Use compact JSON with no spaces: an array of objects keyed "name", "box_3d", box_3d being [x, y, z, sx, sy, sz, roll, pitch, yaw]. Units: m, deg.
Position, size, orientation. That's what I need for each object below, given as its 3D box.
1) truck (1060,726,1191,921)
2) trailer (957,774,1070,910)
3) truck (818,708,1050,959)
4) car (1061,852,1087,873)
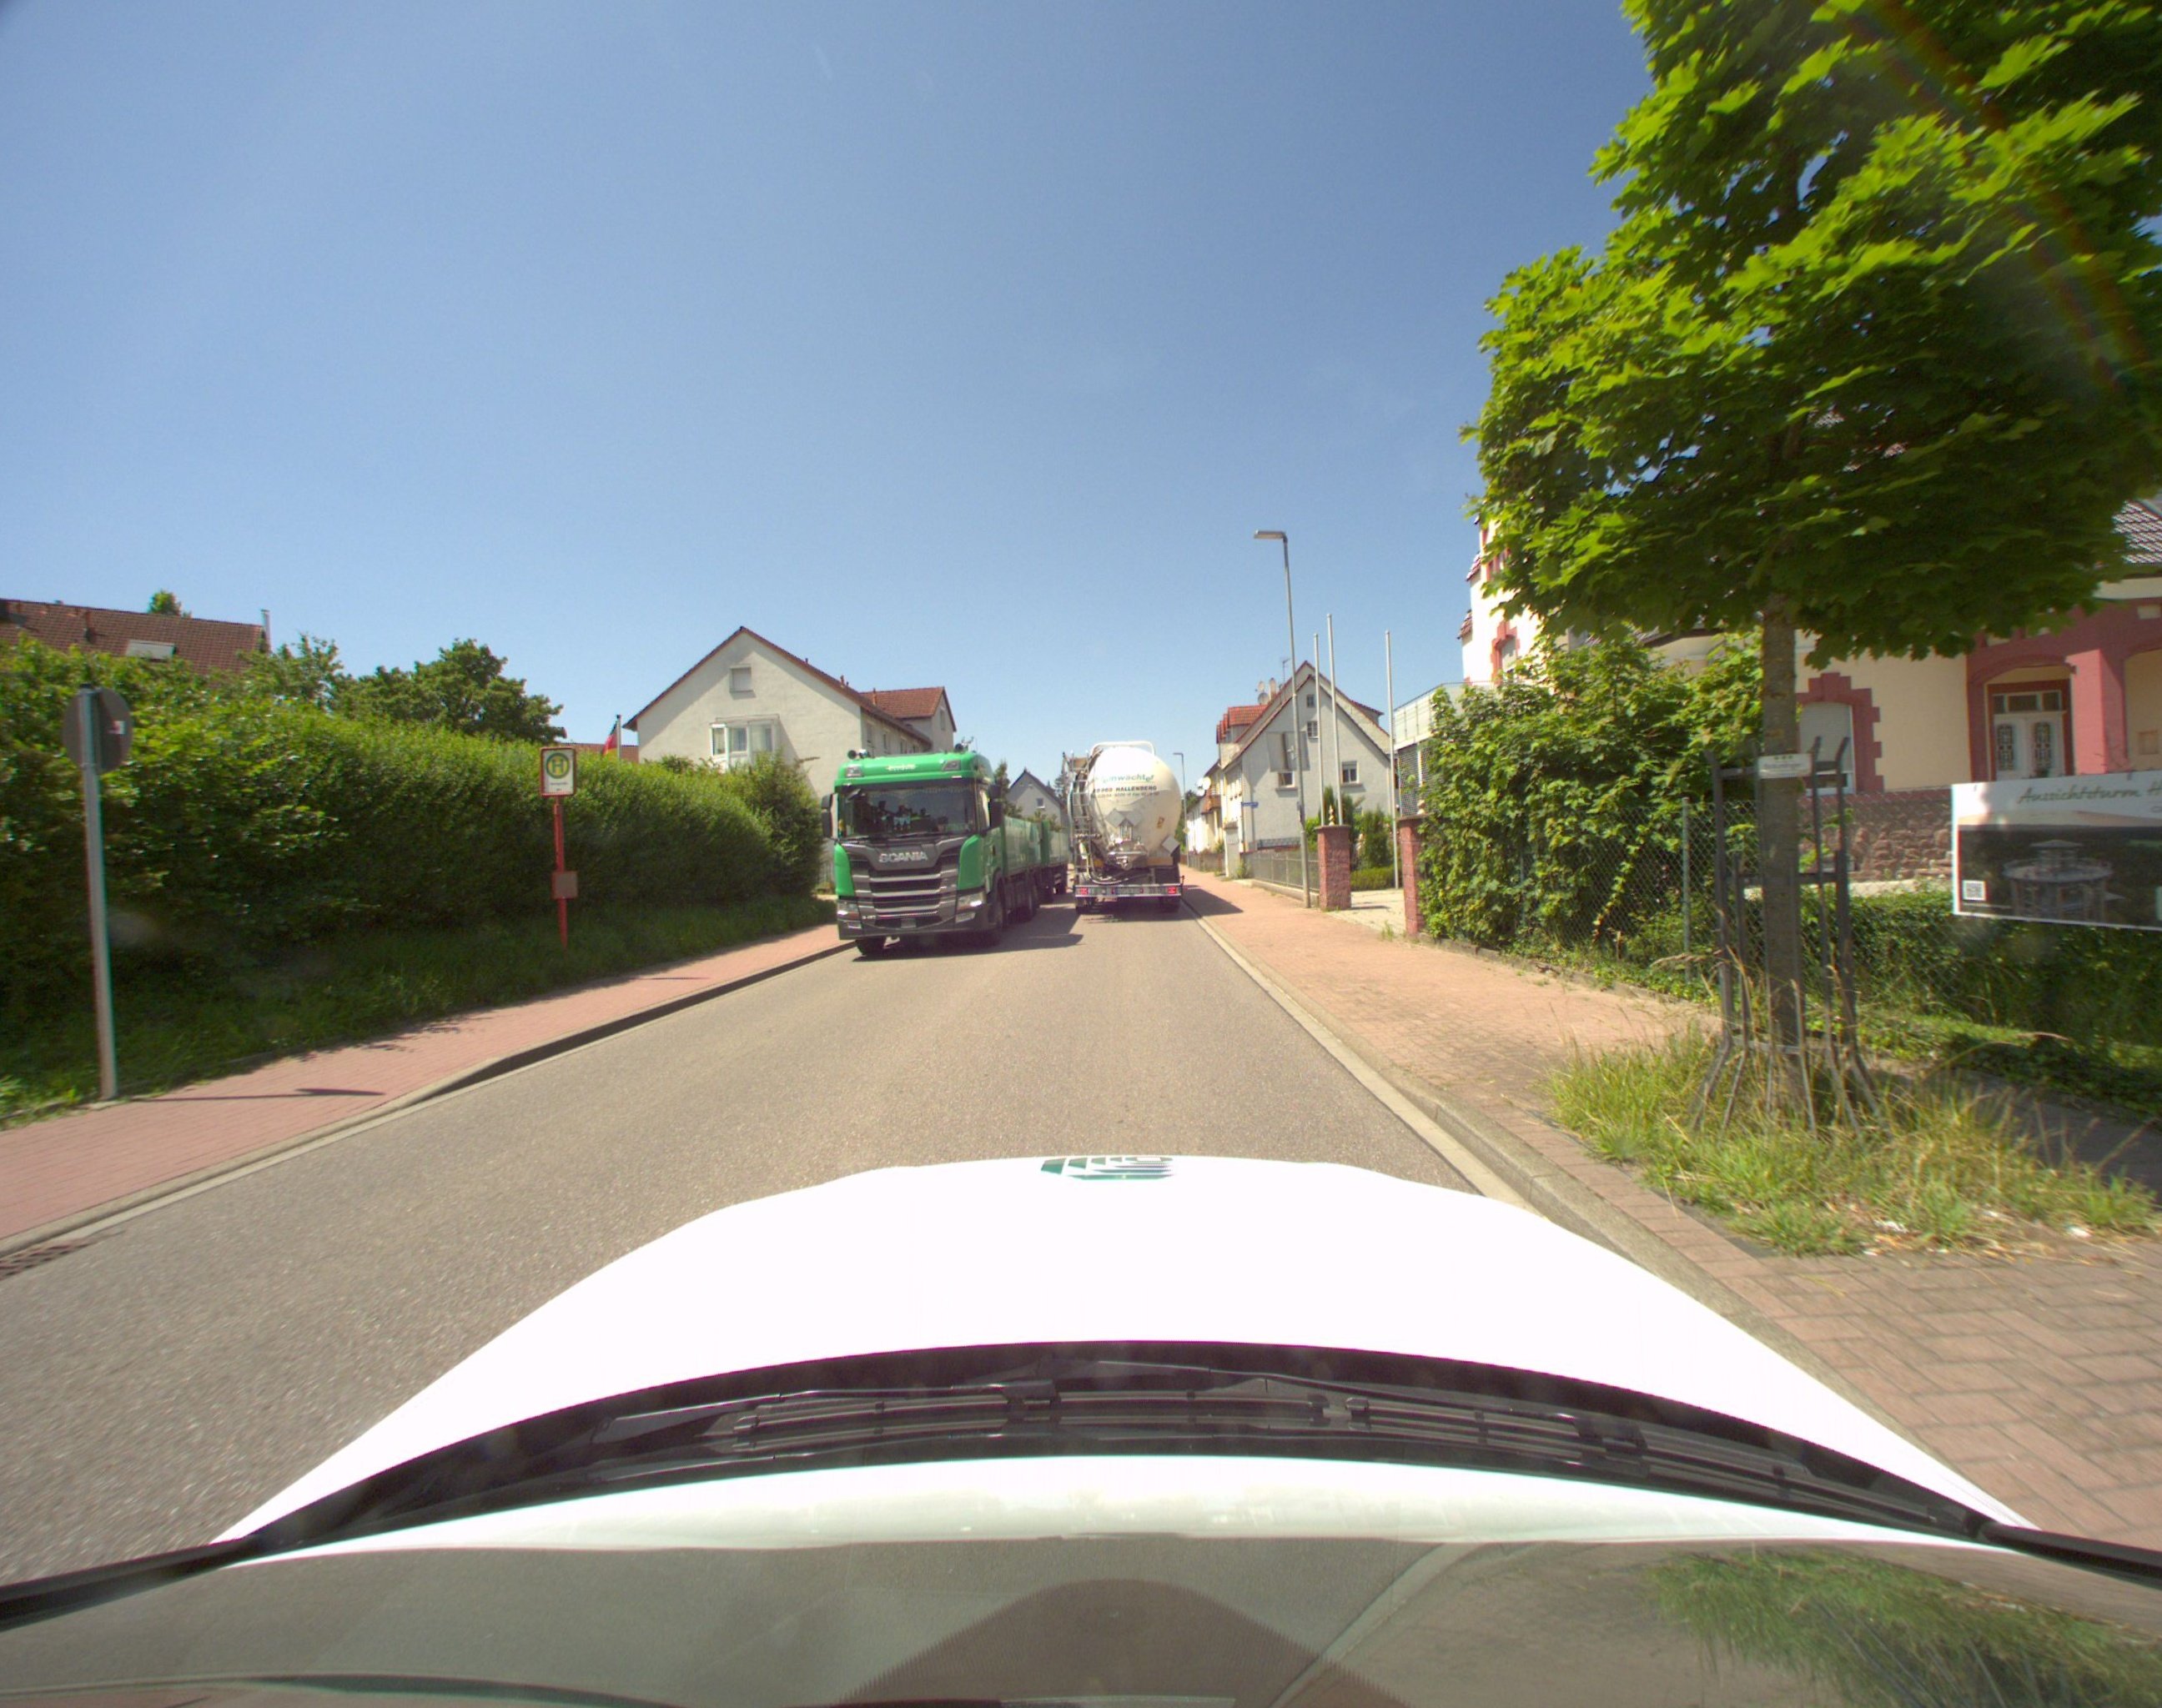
[{"name":"truck","box_3d":[1.147,-0.666,21.919,2.630,4.015,9.567,-2,0,2]},{"name":"trailer","box_3d":[-1.934,-0.363,26.877,2.520,3.648,8.466,-3,0,2]},{"name":"truck","box_3d":[-2.472,-0.342,17.614,2.557,3.700,10.084,-4,0,2]},{"name":"car","box_3d":[-0.506,0.657,63.323,1.723,1.460,4.698,-4,0,3]}]
